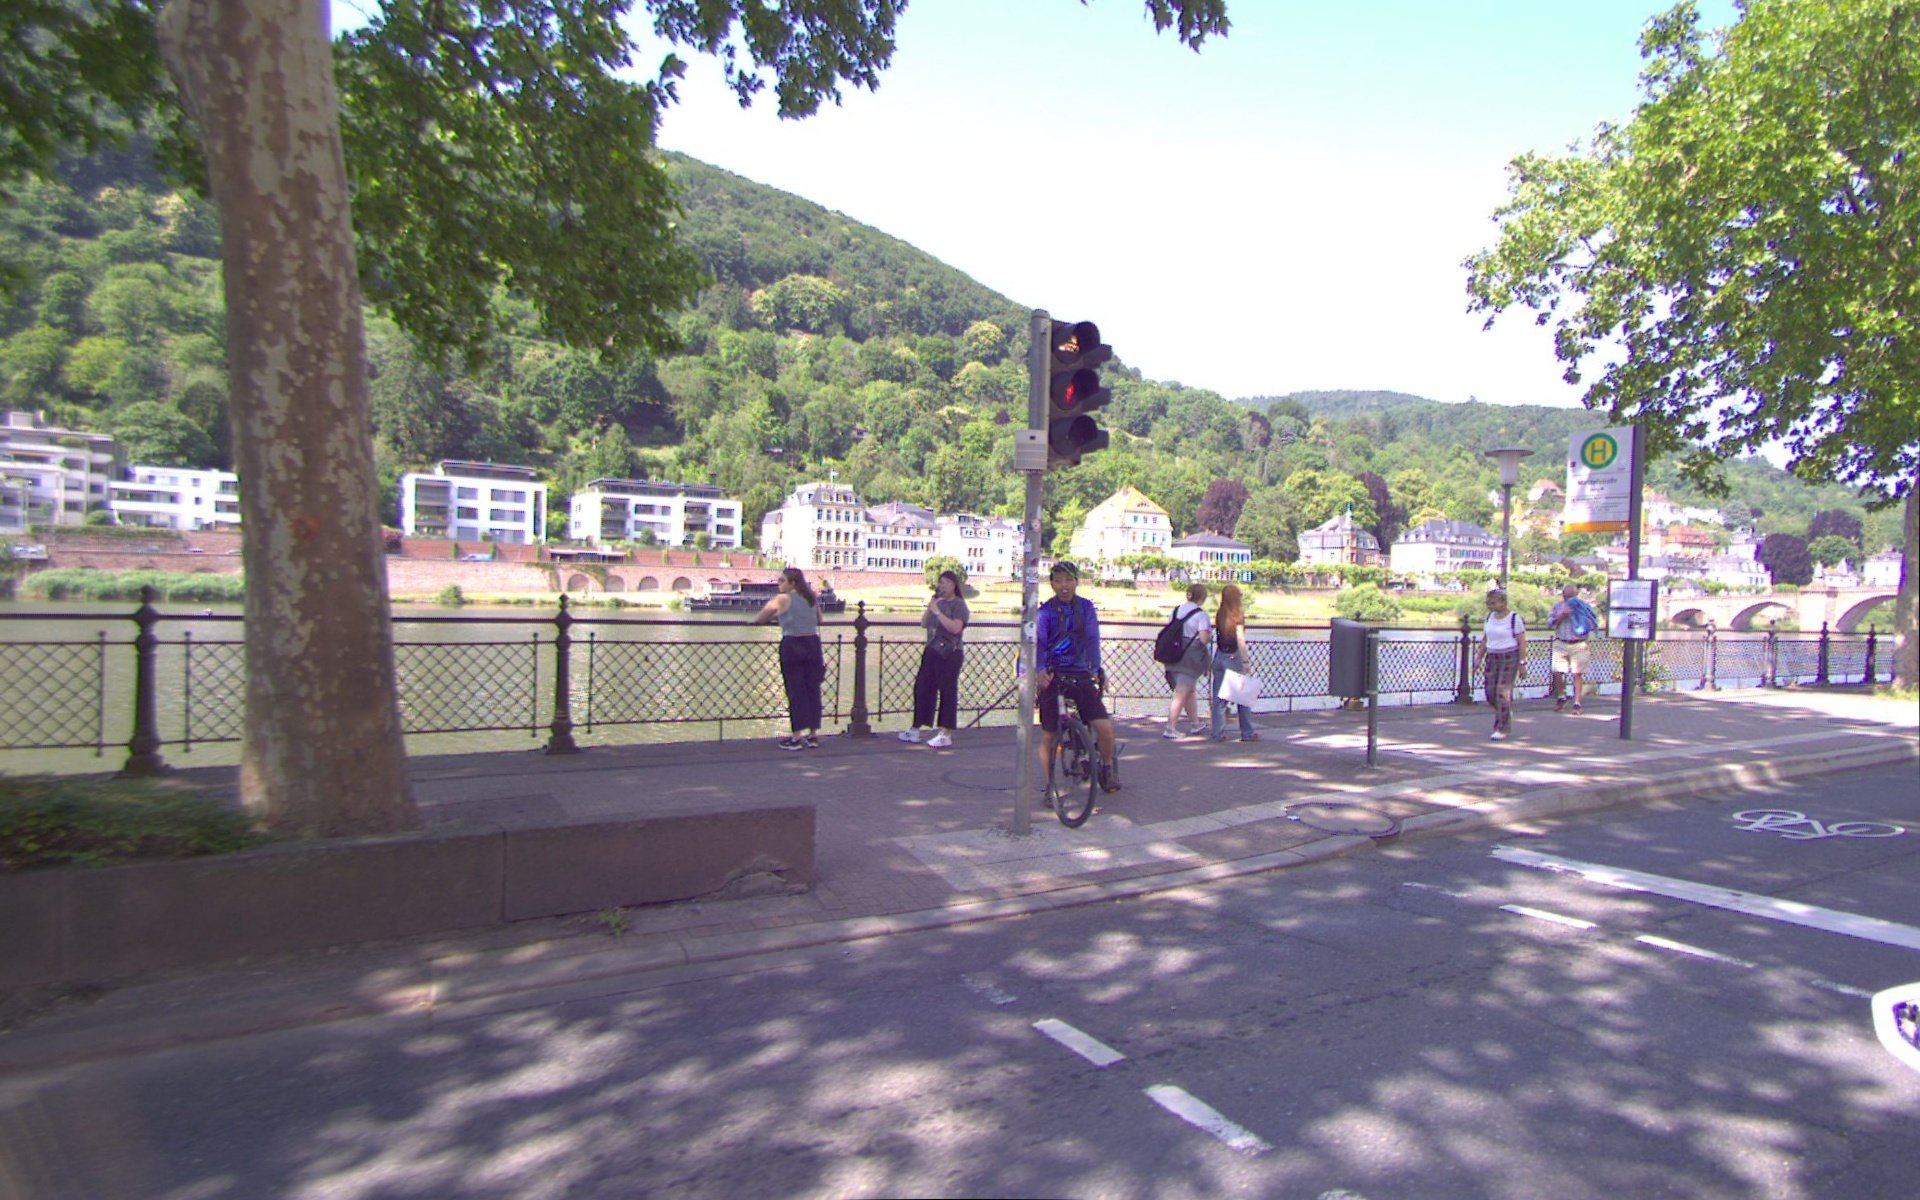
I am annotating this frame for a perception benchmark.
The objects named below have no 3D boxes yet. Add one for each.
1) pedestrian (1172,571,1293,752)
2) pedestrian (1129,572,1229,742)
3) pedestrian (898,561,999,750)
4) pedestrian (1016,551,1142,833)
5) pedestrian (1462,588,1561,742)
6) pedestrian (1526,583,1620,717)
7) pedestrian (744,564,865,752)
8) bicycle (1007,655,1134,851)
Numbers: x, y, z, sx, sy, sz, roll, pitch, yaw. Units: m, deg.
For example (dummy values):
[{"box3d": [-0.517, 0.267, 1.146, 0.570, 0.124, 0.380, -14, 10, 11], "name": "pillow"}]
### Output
[{"box3d": [2.755, 0.589, 10.205, 0.773, 1.736, 0.831, 1, 1, -31], "name": "pedestrian"}, {"box3d": [2.338, 0.591, 10.736, 0.784, 1.736, 0.649, 1, 0, -31], "name": "pedestrian"}, {"box3d": [-0.115, 0.507, 9.603, 0.688, 1.723, 0.615, 1, 2, -31], "name": "pedestrian"}, {"box3d": [0.856, 0.588, 7.031, 0.753, 1.796, 1.025, 2, 1, 10], "name": "pedestrian"}, {"box3d": [6.164, 0.710, 11.214, 0.980, 1.639, 0.491, 1, 1, -31], "name": "pedestrian"}, {"box3d": [8.585, 0.680, 14.070, 0.961, 1.787, 0.707, 1, 1, -31], "name": "pedestrian"}, {"box3d": [-1.431, 0.512, 9.229, 0.900, 1.630, 0.546, 1, 3, -31], "name": "pedestrian"}, {"box3d": [0.841, 1.008, 7.194, 0.727, 0.938, 1.830, 3, 5, 10], "name": "bicycle"}]
